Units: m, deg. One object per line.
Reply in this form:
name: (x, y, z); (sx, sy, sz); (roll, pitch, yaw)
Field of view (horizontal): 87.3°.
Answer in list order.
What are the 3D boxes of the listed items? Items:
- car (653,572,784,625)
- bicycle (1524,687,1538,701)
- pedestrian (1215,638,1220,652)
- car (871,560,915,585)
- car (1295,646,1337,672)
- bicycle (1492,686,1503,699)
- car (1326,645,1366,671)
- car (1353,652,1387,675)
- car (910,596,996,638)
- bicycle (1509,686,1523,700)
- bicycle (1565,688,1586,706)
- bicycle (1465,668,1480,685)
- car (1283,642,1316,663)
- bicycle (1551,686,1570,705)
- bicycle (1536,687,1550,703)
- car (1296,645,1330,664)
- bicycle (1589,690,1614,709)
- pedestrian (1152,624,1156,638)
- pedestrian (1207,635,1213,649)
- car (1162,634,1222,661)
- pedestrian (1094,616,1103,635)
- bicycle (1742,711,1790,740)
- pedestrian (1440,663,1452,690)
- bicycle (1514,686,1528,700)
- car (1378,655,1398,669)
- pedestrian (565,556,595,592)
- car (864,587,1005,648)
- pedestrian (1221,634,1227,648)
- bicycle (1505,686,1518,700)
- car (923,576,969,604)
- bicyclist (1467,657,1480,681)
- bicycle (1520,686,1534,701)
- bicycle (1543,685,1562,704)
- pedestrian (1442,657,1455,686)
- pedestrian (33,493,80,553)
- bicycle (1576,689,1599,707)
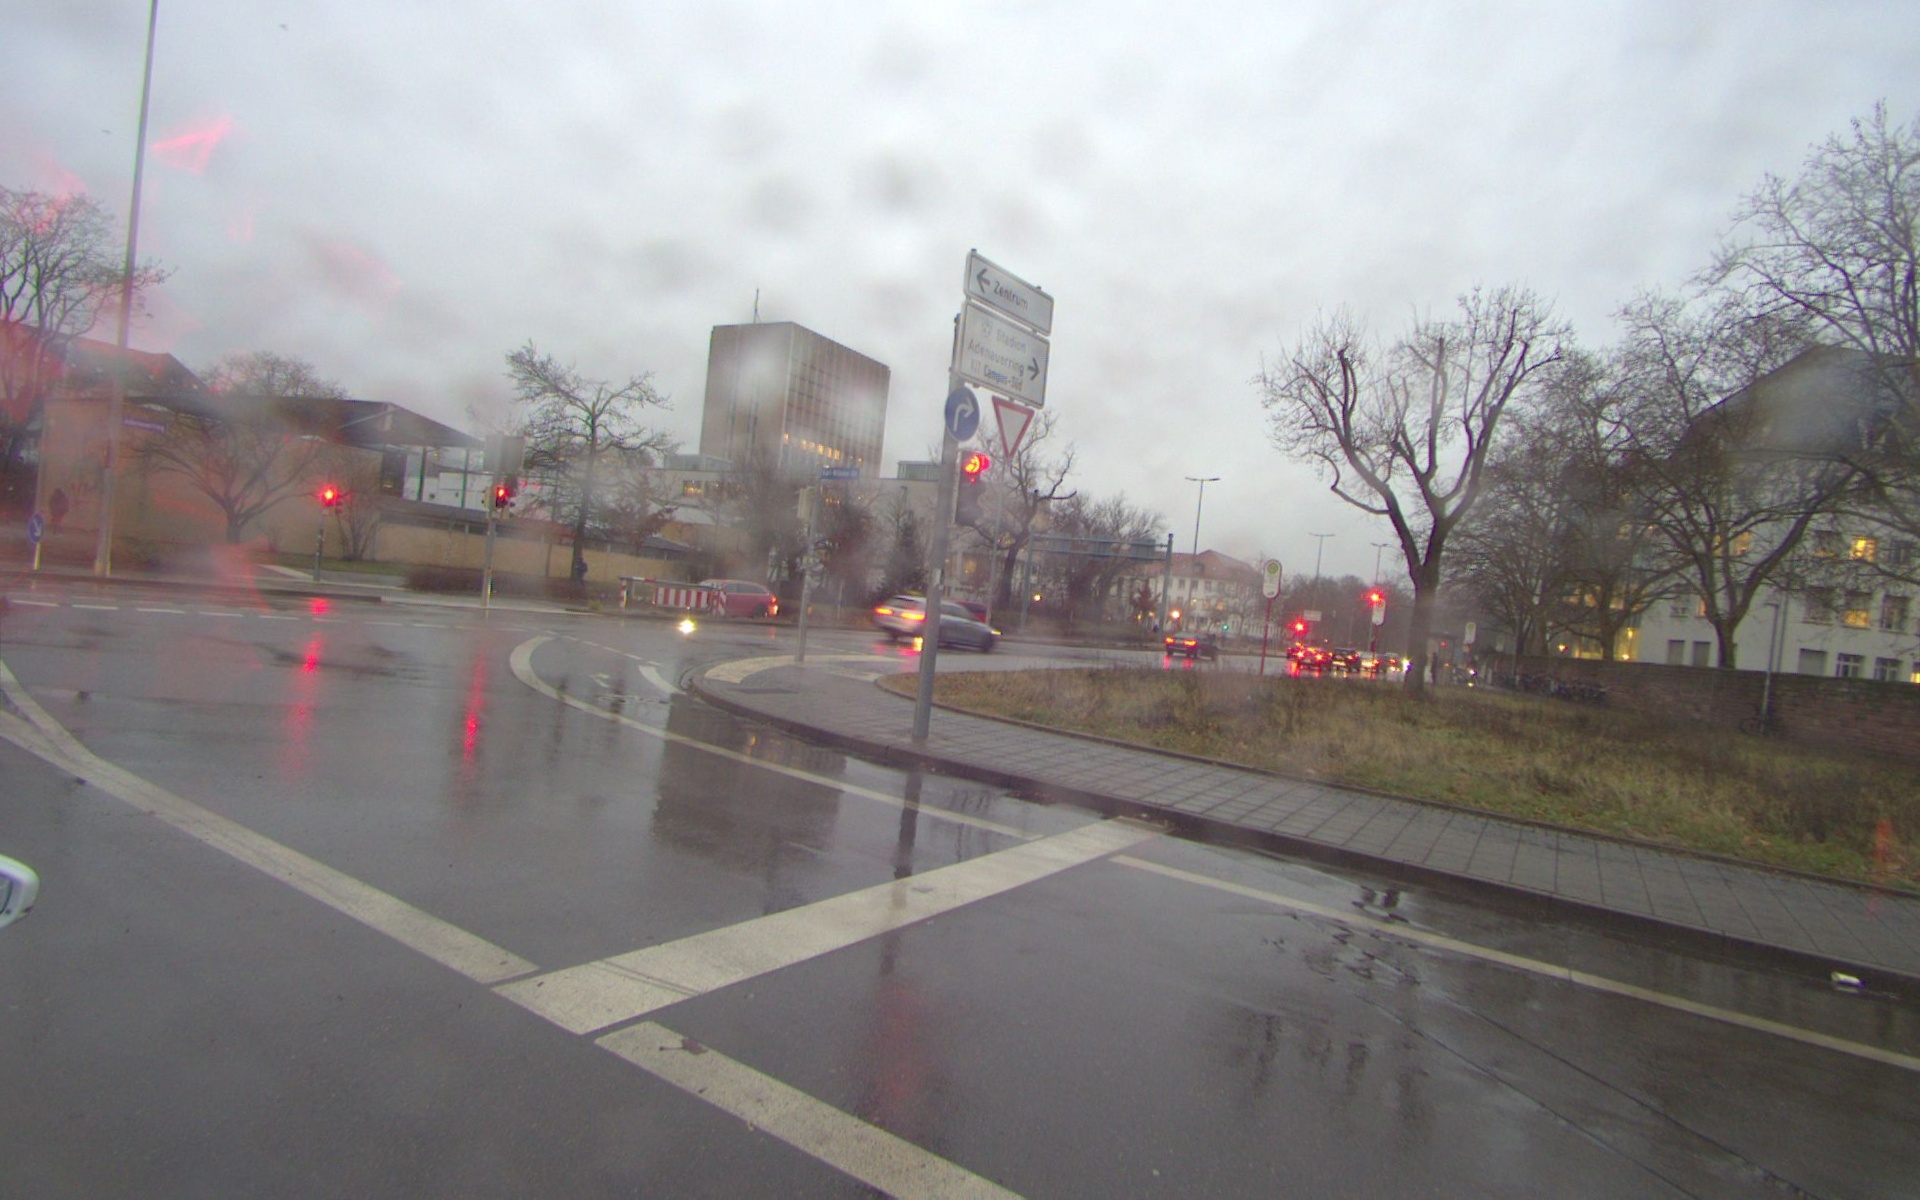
car: (-8.636, -0.030, 36.300); (1.784, 1.496, 4.411); (6, 0, 37)
bicycle: (32.840, 5.402, 57.858); (0.387, 0.795, 1.532); (7, -2, 19)
pedestrian: (31.516, 5.548, 123.156); (0.404, 1.713, 0.427); (7, 2, 28)
car: (-7.066, -2.911, 106.519); (2.014, 2.102, 4.892); (6, 0, 30)
car: (25.299, 4.213, 71.419); (1.811, 1.602, 4.126); (6, 0, 33)
bicycle: (36.389, 6.245, 68.099); (0.387, 0.795, 1.532); (7, -2, 20)
car: (29.701, 4.487, 77.402); (1.812, 1.710, 4.311); (6, -1, 34)
car: (34.236, 5.282, 83.962); (1.811, 1.710, 4.311); (6, 0, 32)
car: (-0.348, 0.981, 56.576); (2.016, 1.903, 5.320); (6, 0, 35)
bicycle: (34.349, 5.739, 62.144); (0.387, 0.795, 1.532); (7, -2, 20)
bicycle: (31.038, 4.874, 50.737); (0.343, 0.848, 1.493); (7, -2, 13)
bicycle: (36.615, 5.478, 71.890); (0.599, 1.181, 1.682); (7, -2, 19)
car: (30.013, 4.644, 88.868); (1.811, 1.602, 4.127); (6, 0, 32)
bicycle: (31.356, 4.978, 52.548); (0.387, 0.868, 1.532); (7, -2, 15)
bicycle: (32.412, 5.288, 55.945); (0.387, 0.795, 1.607); (7, -2, 22)
car: (28.900, 4.434, 82.302); (1.674, 1.318, 3.756); (6, 0, 34)
bicycle: (30.275, 4.671, 47.468); (0.352, 0.795, 1.415); (7, -2, 8)
pedestrian: (20.054, 3.218, 103.985); (0.258, 1.364, 0.289); (8, 2, 31)
pedestrian: (31.152, 5.247, 125.474); (0.404, 1.713, 0.427); (7, 2, 28)
car: (13.711, 2.818, 59.293); (1.907, 1.318, 4.687); (6, 0, 32)
pedestrian: (12.977, 2.413, 94.335); (0.411, 1.725, 0.430); (8, 3, 44)
bicycle: (28.203, 4.398, 35.217); (0.387, 0.834, 1.386); (7, -2, -4)
pedestrian: (30.151, 4.731, 62.410); (0.462, 1.623, 0.486); (7, -1, 25)
bicycle: (33.828, 5.612, 60.656); (0.387, 0.795, 1.532); (7, -2, 20)
car: (50.710, 7.334, 119.124); (1.620, 1.346, 3.671); (7, 1, 31)
pedestrian: (-18.301, -1.256, 48.447); (0.782, 1.624, 0.961); (8, 2, 36)
car: (-0.747, 0.602, 32.696); (1.911, 1.571, 4.678); (6, 0, 39)
pedestrian: (31.918, 4.950, 121.519); (0.404, 1.713, 0.427); (7, 2, 28)
bicycle: (34.849, 5.864, 63.618); (0.387, 0.795, 1.532); (7, -2, 20)
car: (-1.395, -0.996, 103.053); (2.014, 2.452, 5.326); (6, 0, 30)
bicyclist: (36.689, 4.928, 71.904); (0.599, 1.660, 0.453); (7, -1, 19)
bicycle: (33.322, 5.485, 59.137); (0.387, 0.795, 1.532); (7, -2, 20)
bicycle: (31.841, 5.072, 54.079); (0.387, 0.927, 1.532); (7, -2, 15)
pedestrian: (36.018, 5.269, 74.186); (0.557, 2.040, 0.595); (8, 2, 33)
pedestrian: (-34.152, -2.902, 38.039); (0.879, 2.141, 0.885); (7, 2, 15)
bicycle: (30.549, 4.767, 48.992); (0.387, 0.795, 1.533); (7, -2, 14)
